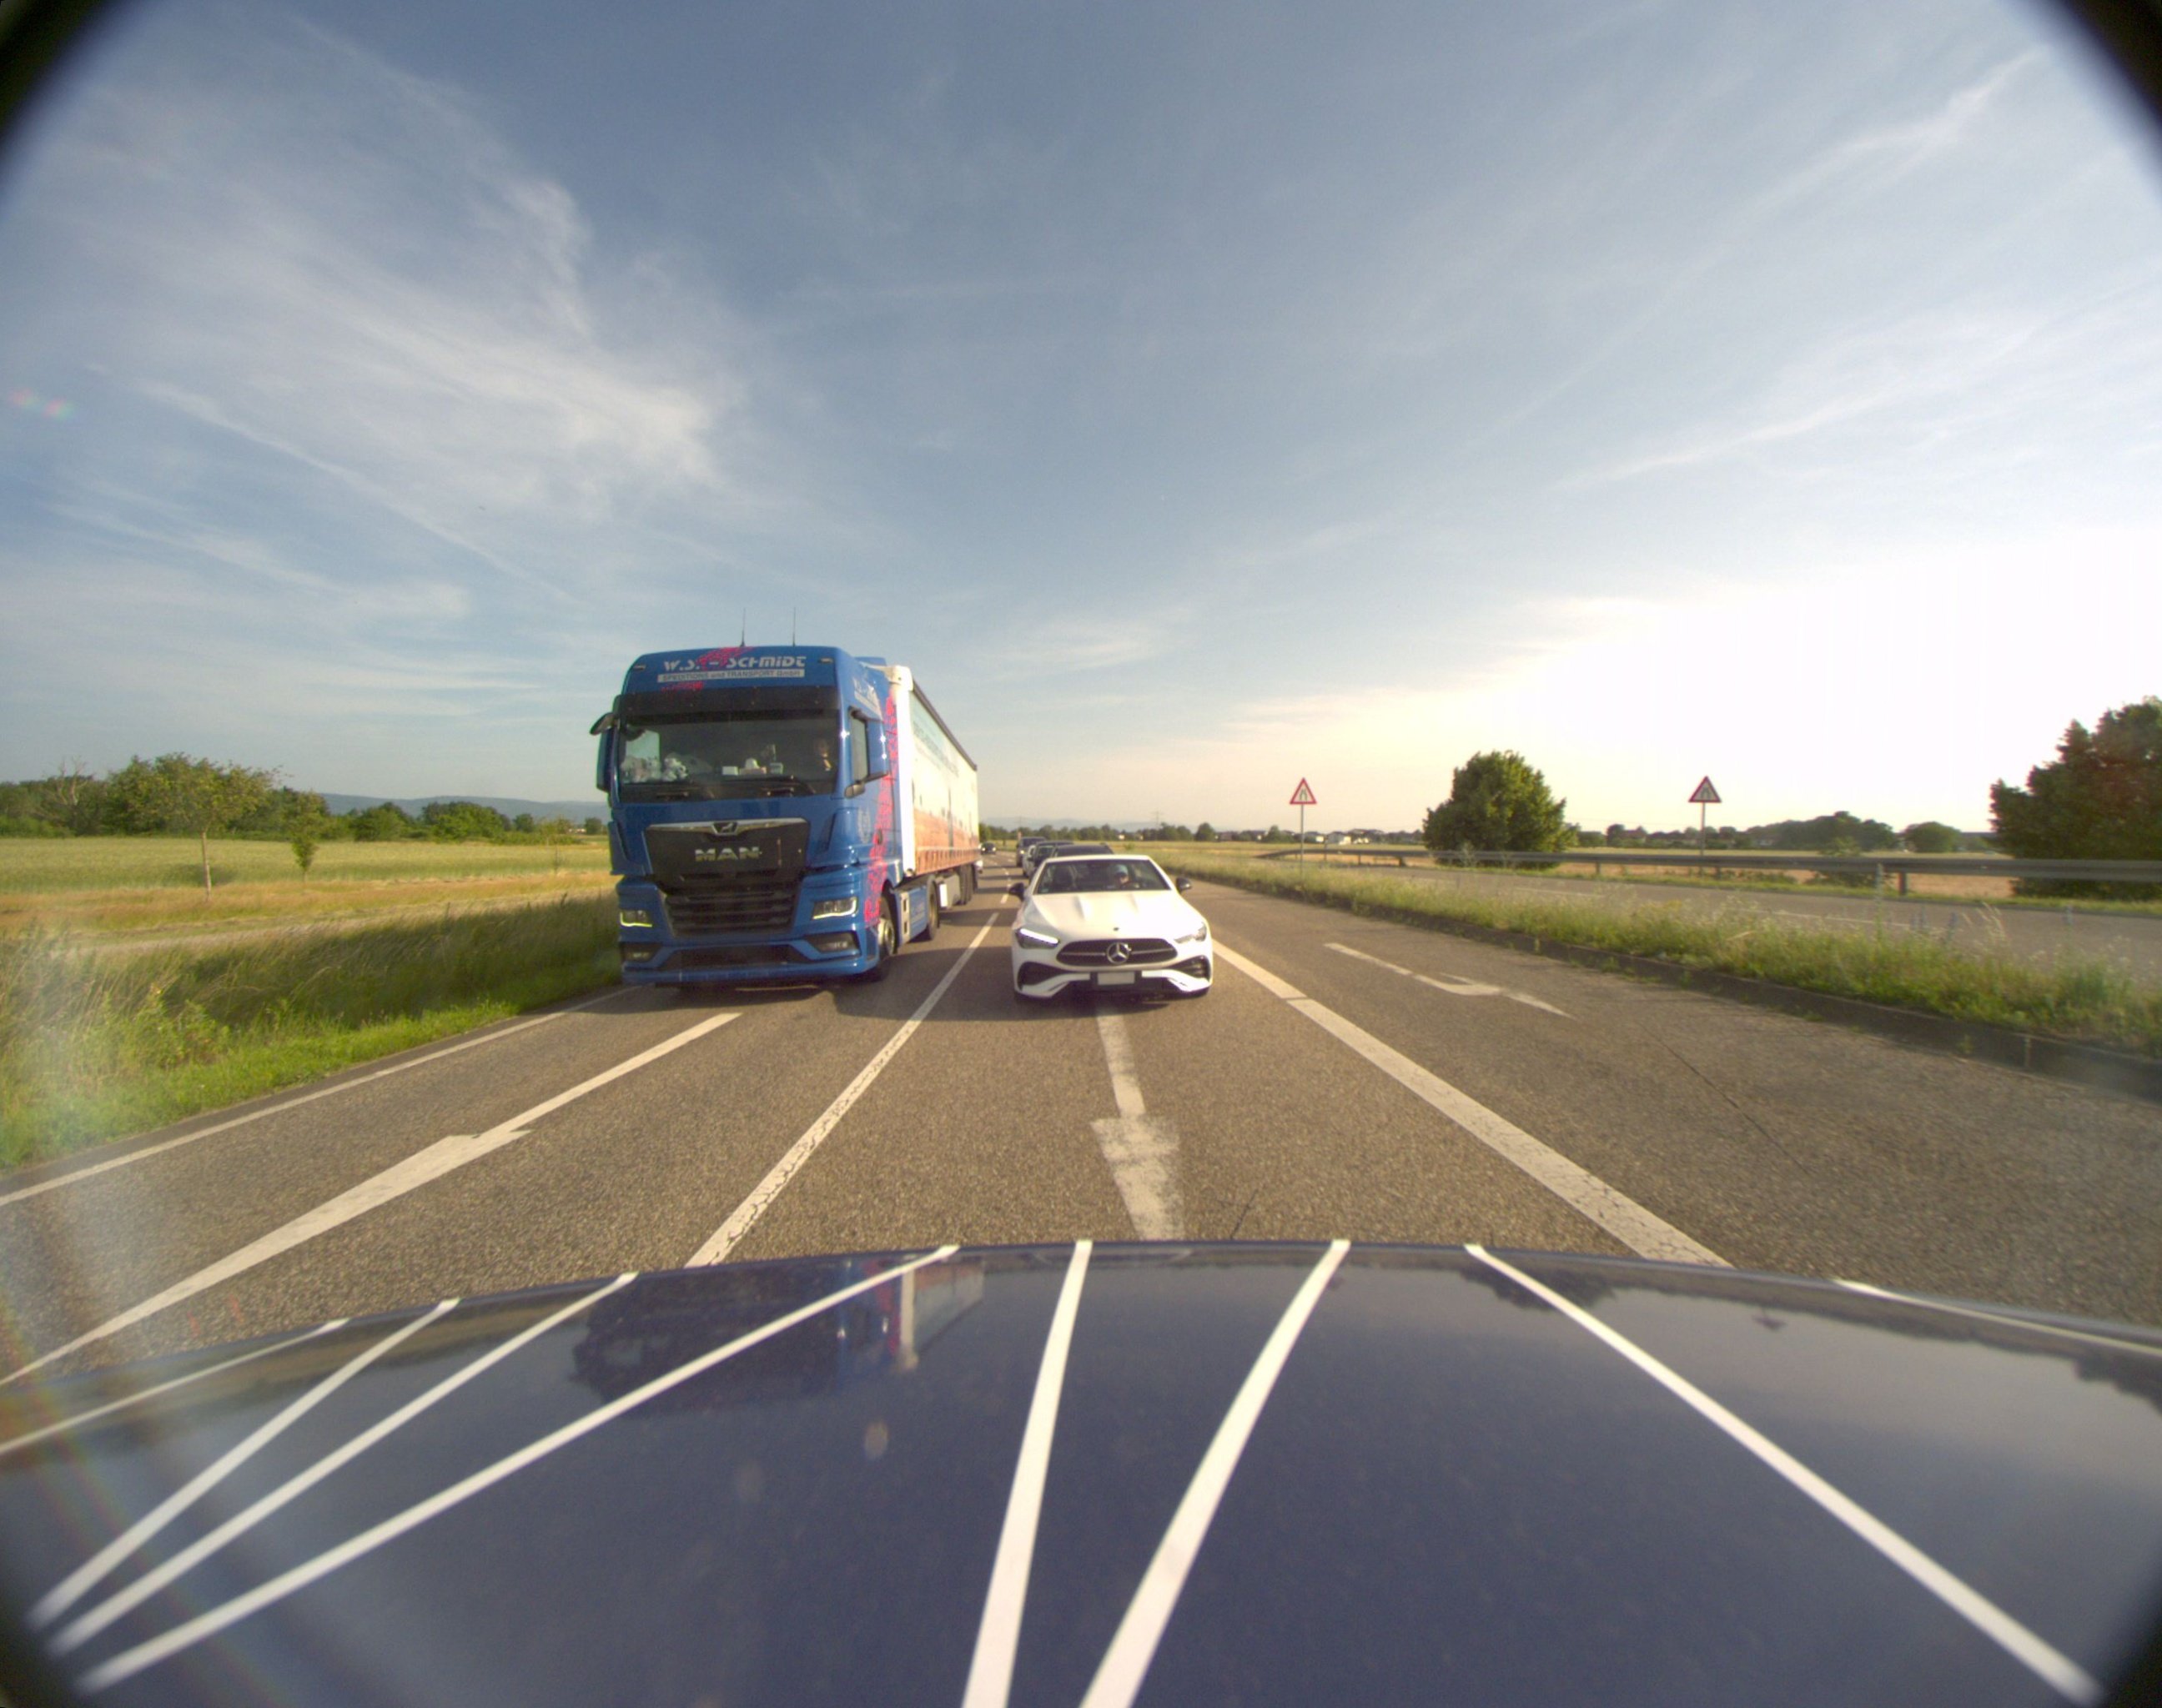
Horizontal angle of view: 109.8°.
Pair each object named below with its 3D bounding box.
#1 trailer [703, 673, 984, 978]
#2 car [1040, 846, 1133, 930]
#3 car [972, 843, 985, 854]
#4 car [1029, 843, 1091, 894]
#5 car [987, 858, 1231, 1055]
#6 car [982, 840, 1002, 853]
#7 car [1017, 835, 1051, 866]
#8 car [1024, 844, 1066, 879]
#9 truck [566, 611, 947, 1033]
[{"bbox_3d":[-4.003,-0.521,17.032,2.652,3.956,13.922,-2,1,-4],"label":"trailer"},{"bbox_3d":[-0.002,0.624,16.402,1.752,1.521,3.998,-1,1,-3],"label":"car"},{"bbox_3d":[-15.761,-0.831,116.530,1.755,1.608,3.808,-1,1,-10],"label":"car"},{"bbox_3d":[-0.768,0.405,25.127,1.831,1.521,3.997,-1,1,-4],"label":"car"},{"bbox_3d":[0.219,0.810,8.005,1.875,1.390,4.203,-1,1,0],"label":"car"},{"bbox_3d":[-10.967,-0.977,93.317,2.000,1.525,3.995,-1,1,-11],"label":"car"},{"bbox_3d":[-3.016,-0.233,48.028,1.832,1.831,3.996,-1,1,-7],"label":"car"},{"bbox_3d":[-1.653,0.280,33.828,1.695,1.406,3.997,-1,1,-4],"label":"car"},{"bbox_3d":[-3.556,-0.369,10.145,2.652,3.897,5.947,-2,1,-4],"label":"truck"}]
